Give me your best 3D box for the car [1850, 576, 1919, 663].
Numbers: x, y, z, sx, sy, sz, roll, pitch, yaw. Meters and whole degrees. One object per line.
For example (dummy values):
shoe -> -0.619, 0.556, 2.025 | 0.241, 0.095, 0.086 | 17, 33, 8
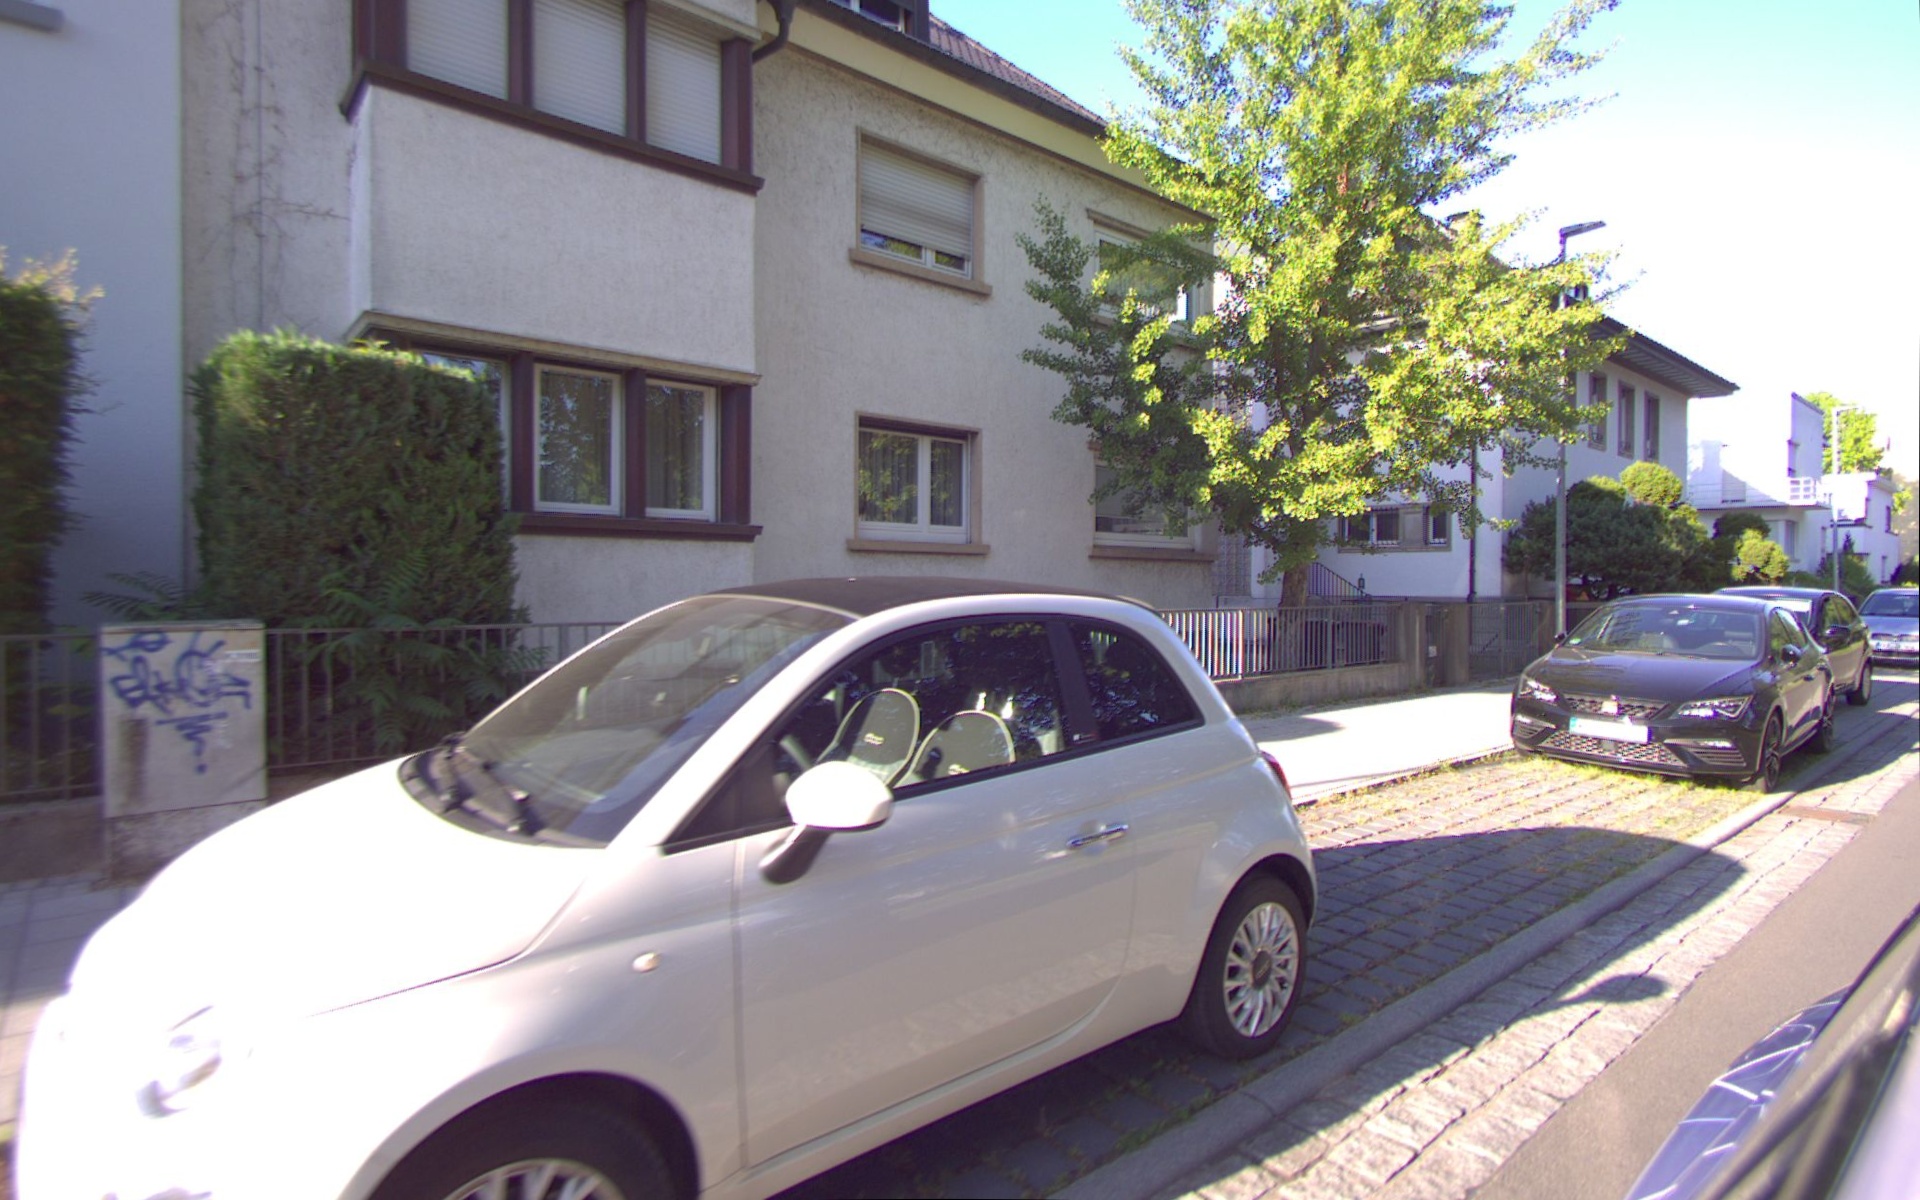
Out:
car -> 18.799, 0.332, 19.664 | 3.764, 1.554, 1.665 | -1, 2, -39

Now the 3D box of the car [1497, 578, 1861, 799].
car -> 6.400, 0.571, 8.841 | 3.987, 1.499, 1.744 | -1, 0, -42

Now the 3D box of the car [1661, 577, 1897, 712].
car -> 10.608, 0.466, 13.030 | 3.696, 1.499, 1.664 | -1, 0, -39

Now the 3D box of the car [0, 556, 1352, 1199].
car -> -0.454, 0.650, 2.946 | 3.431, 1.498, 1.508 | -1, 2, -40
